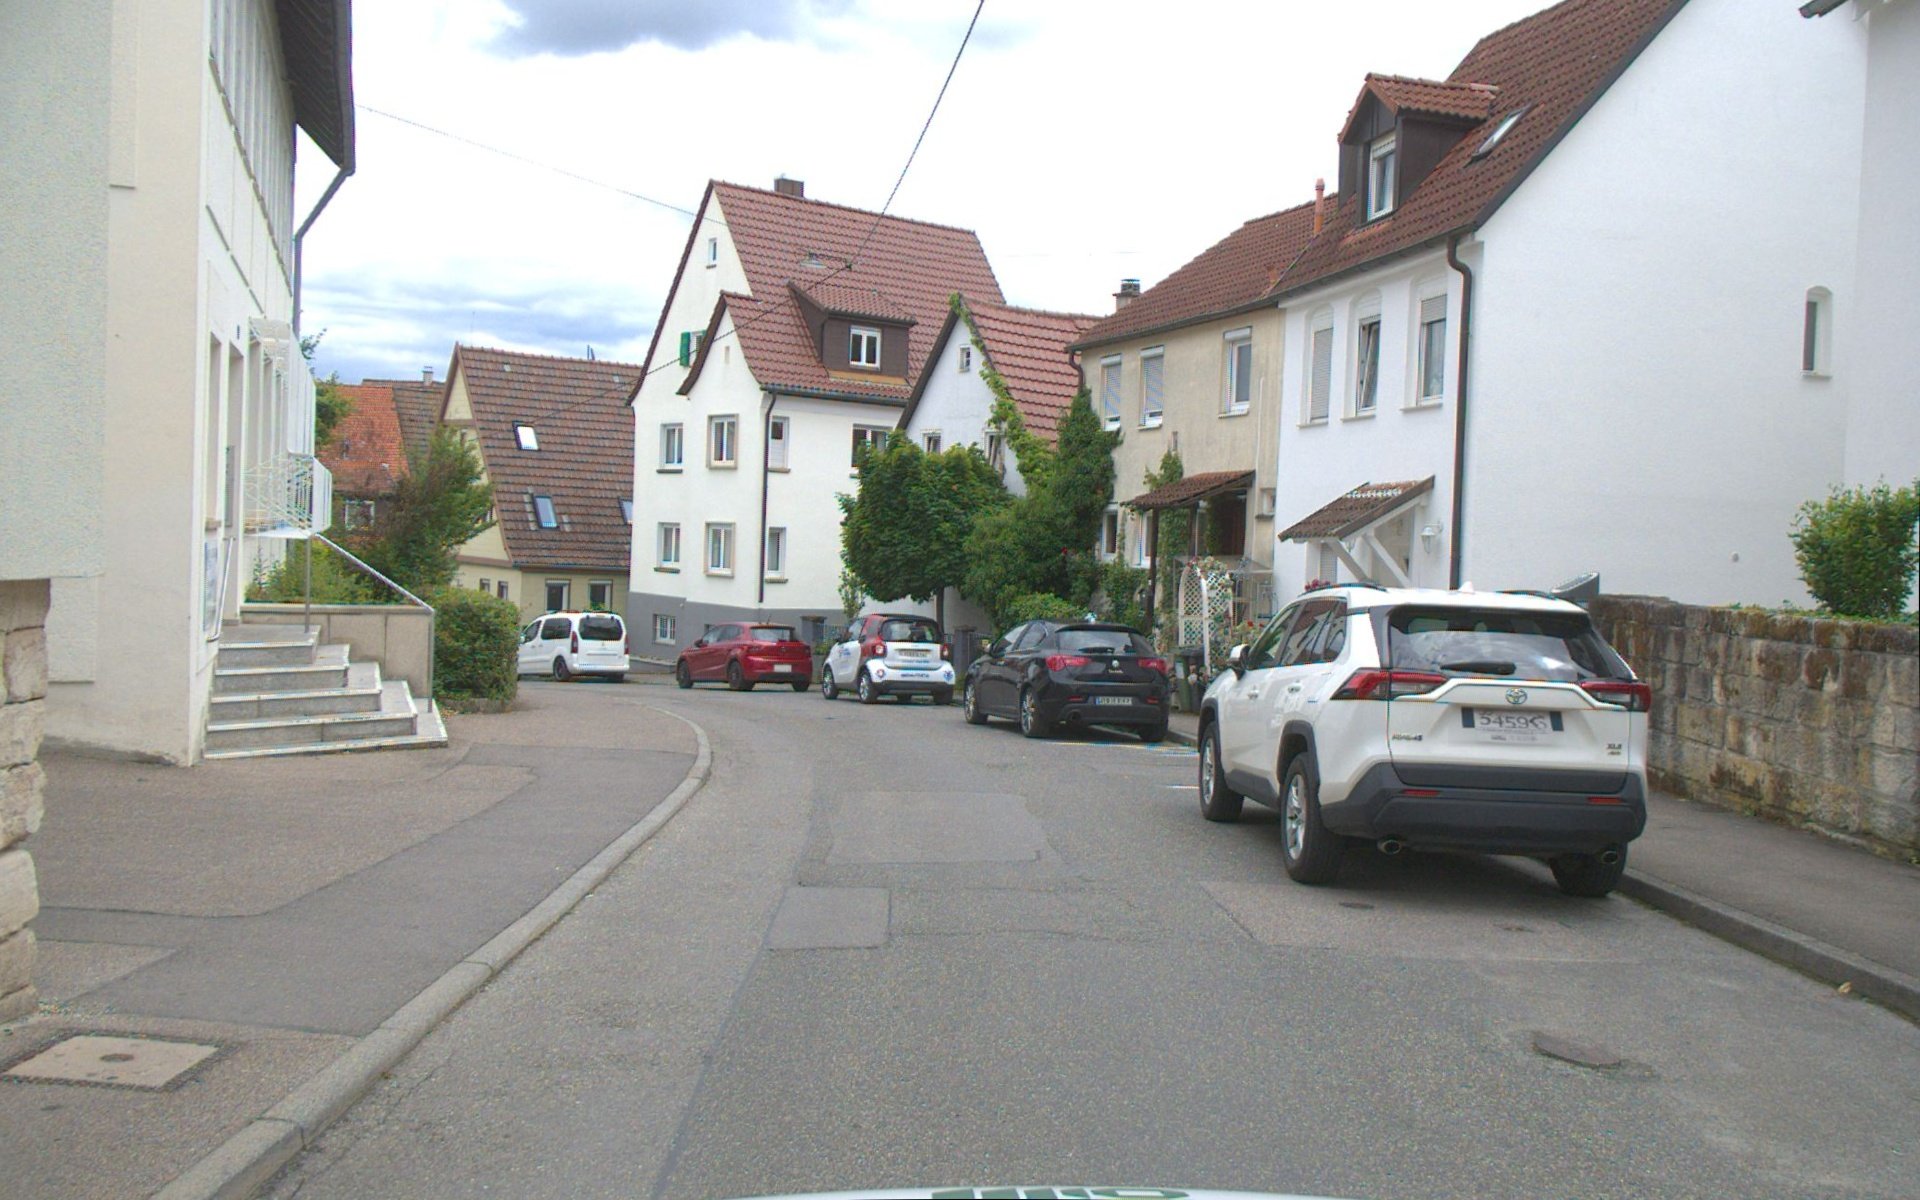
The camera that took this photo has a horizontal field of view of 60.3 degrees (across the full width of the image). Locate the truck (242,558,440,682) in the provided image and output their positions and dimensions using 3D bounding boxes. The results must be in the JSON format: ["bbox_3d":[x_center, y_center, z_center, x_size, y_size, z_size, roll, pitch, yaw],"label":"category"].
[{"bbox_3d":[-19.830,0.696,52.703,7.963,3.661,2.667,-2,-2,43],"label":"truck"}]

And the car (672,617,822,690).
[{"bbox_3d":[-4.642,1.160,35.619,1.664,1.477,3.805,2,-3,-34],"label":"car"}]

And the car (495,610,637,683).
[{"bbox_3d":[-10.460,1.244,43.743,1.826,1.846,4.237,3,-3,-42],"label":"car"}]

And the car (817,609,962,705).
[{"bbox_3d":[-1.305,1.015,29.656,1.591,1.559,2.874,4,-3,-24],"label":"car"}]

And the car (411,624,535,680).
[{"bbox_3d":[-14.095,1.529,47.774,3.982,1.533,1.726,-3,-4,44],"label":"car"}]

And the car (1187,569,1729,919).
[{"bbox_3d":[2.833,0.708,10.598,1.907,1.668,4.459,3,0,-2],"label":"car"}]

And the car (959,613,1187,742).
[{"bbox_3d":[1.353,0.938,21.416,1.690,1.431,3.986,3,-1,-15],"label":"car"}]
